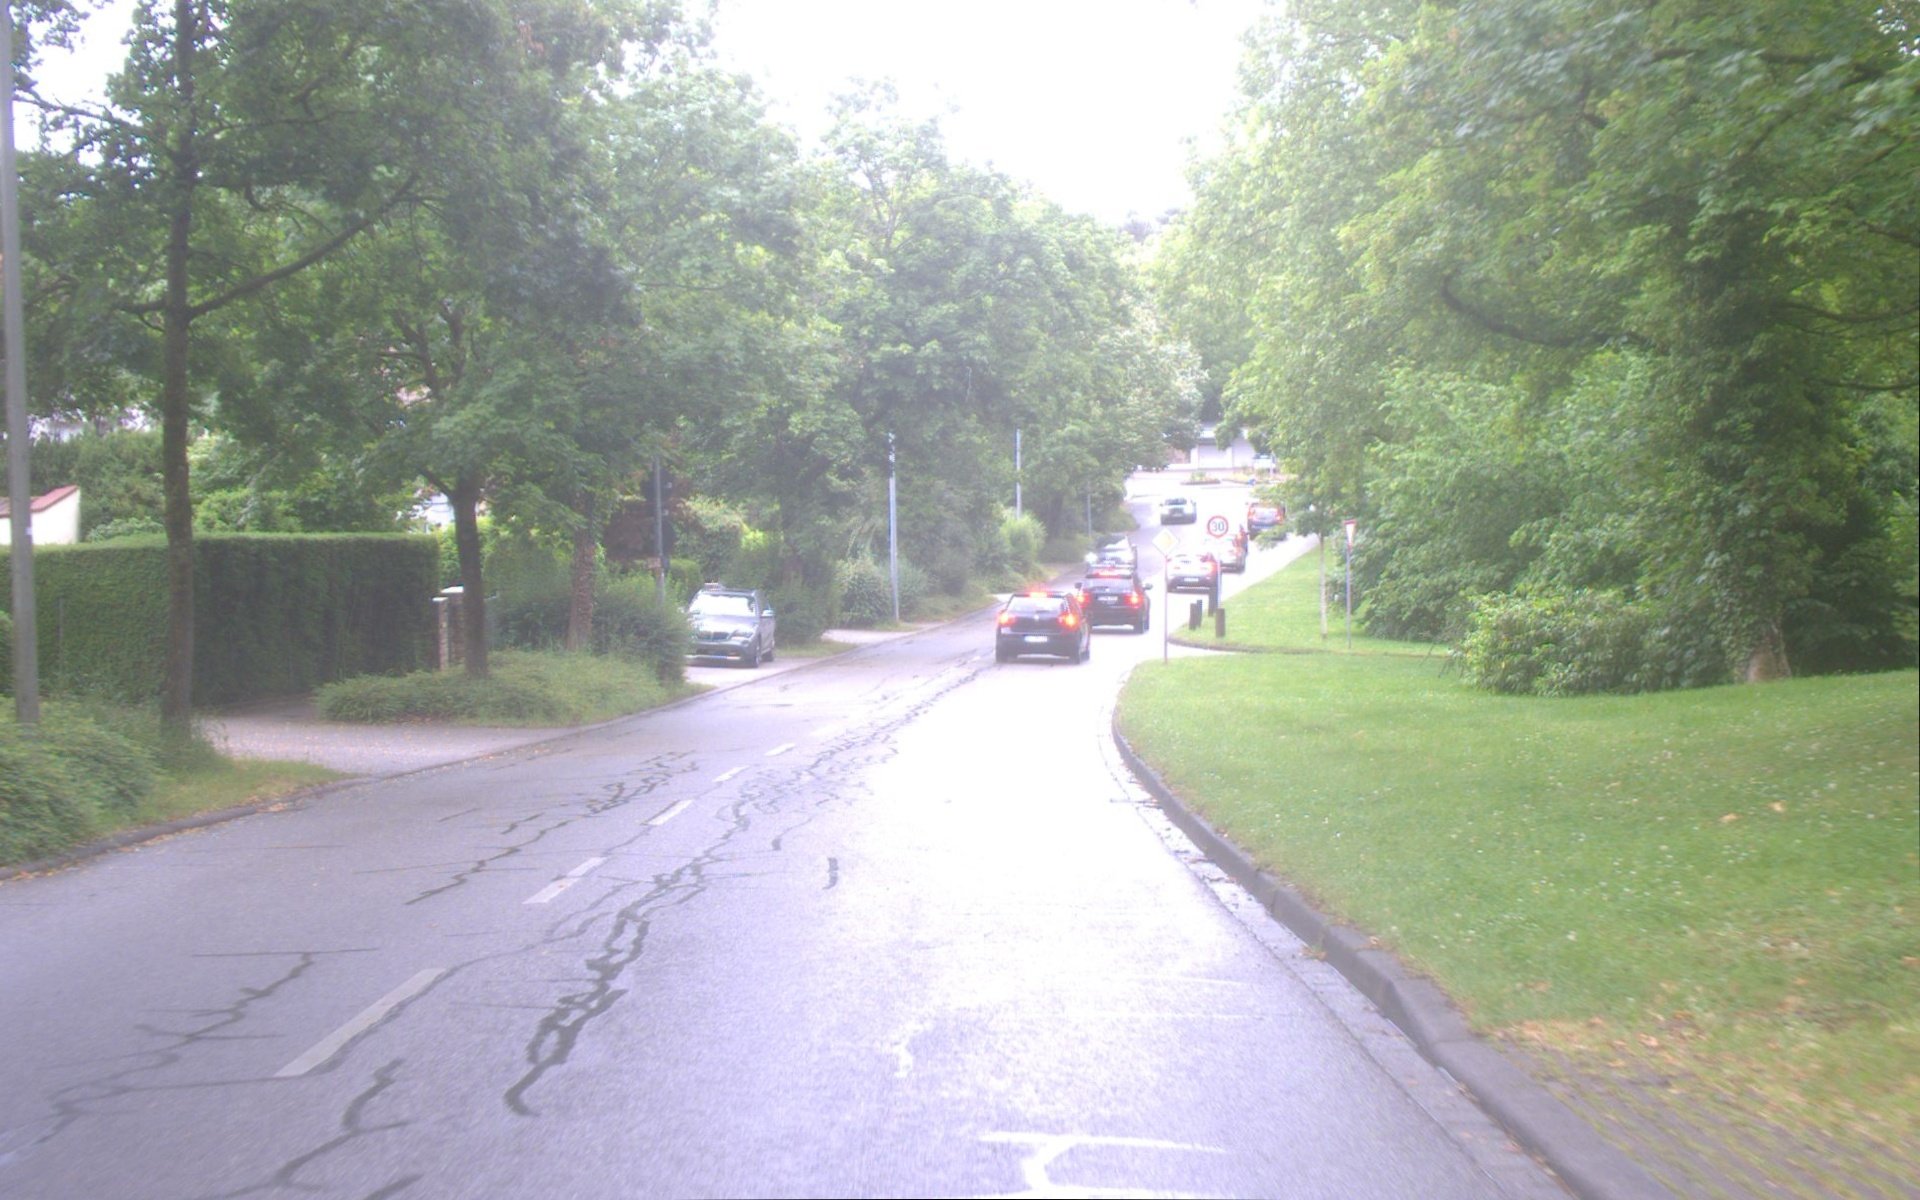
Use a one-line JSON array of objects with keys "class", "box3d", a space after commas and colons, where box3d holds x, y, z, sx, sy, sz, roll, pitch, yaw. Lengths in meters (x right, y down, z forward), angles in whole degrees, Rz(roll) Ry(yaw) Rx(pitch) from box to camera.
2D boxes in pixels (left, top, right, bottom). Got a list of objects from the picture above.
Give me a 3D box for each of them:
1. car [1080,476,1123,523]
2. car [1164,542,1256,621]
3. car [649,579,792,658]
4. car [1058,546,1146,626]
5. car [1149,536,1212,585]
[{"class": "car", "box3d": [6.924, -4.927, 168.364, 1.993, 2.006, 4.001, 0, 6, 1]}, {"class": "car", "box3d": [6.511, -0.478, 89.761, 1.993, 2.007, 4.000, 0, 0, -2]}, {"class": "car", "box3d": [-4.936, 0.361, 71.468, 1.994, 1.593, 4.008, 0, 0, 11]}, {"class": "car", "box3d": [3.668, -0.370, 89.636, 1.993, 2.007, 4.000, -1, 0, -2]}, {"class": "car", "box3d": [7.794, -1.390, 121.833, 1.856, 1.686, 4.000, -1, 0, -2]}]
